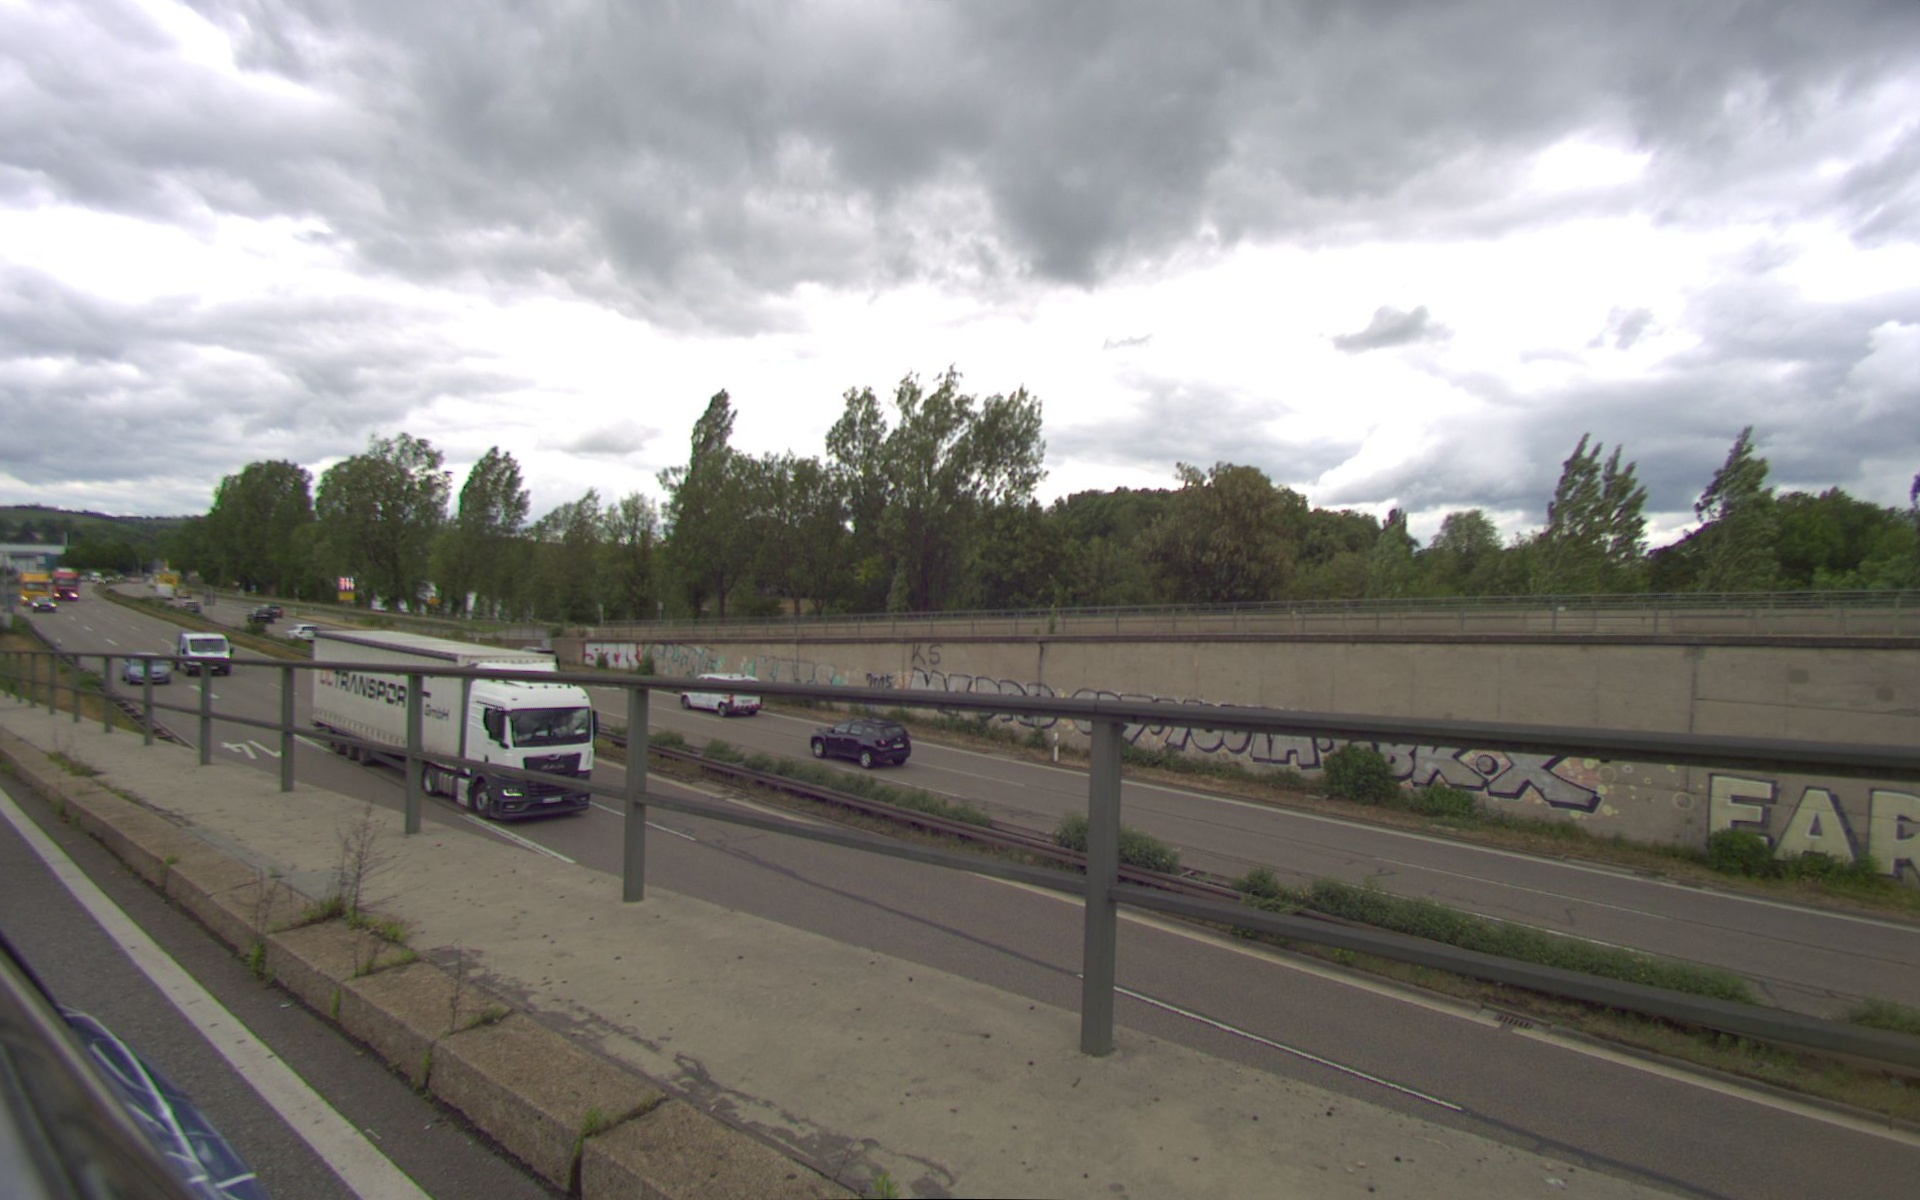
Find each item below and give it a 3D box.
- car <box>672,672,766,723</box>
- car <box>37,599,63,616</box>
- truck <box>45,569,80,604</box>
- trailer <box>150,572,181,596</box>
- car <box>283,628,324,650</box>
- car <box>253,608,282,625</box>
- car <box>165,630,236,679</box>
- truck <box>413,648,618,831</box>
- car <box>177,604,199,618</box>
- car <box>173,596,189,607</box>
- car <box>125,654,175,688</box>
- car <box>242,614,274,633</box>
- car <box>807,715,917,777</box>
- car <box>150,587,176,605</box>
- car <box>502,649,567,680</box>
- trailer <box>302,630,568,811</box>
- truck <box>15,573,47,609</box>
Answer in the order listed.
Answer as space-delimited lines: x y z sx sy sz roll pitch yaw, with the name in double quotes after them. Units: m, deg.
-11.762 4.689 49.201 4.908 1.922 1.927 2 0 41 "car"
-98.260 0.786 109.260 4.002 1.679 1.786 2 1 44 "car"
-127.782 -1.993 144.058 9.922 4.774 2.717 2 -2 44 "truck"
-155.045 -3.167 197.413 3.203 4.294 13.691 2 0 -44 "trailer"
-52.352 3.089 80.694 3.897 1.505 1.755 2 -1 43 "car"
-79.017 1.877 115.439 4.636 1.664 1.839 2 0 45 "car"
-43.251 3.041 57.544 6.502 2.259 2.076 3 0 43 "car"
-12.449 3.608 28.125 5.874 4.140 2.970 2 0 43 "truck"
-90.709 1.308 118.924 1.694 1.464 3.654 2 1 -44 "car"
-132.691 0.303 172.435 3.775 1.664 1.640 2 0 45 "car"
-41.542 3.609 51.862 3.538 1.383 1.492 3 0 43 "car"
-71.981 2.425 103.736 4.183 1.731 1.861 2 0 43 "car"
-3.620 5.271 36.981 3.998 1.633 1.648 2 0 41 "car"
-127.010 -0.691 161.175 6.101 2.613 2.144 2 0 42 "car"
-27.202 4.074 64.656 4.577 1.638 1.973 2 -1 41 "car"
-17.484 3.385 32.779 13.989 4.140 2.970 2 0 43 "trailer"
-114.080 -1.135 124.256 8.175 4.153 2.382 3 1 44 "truck"
